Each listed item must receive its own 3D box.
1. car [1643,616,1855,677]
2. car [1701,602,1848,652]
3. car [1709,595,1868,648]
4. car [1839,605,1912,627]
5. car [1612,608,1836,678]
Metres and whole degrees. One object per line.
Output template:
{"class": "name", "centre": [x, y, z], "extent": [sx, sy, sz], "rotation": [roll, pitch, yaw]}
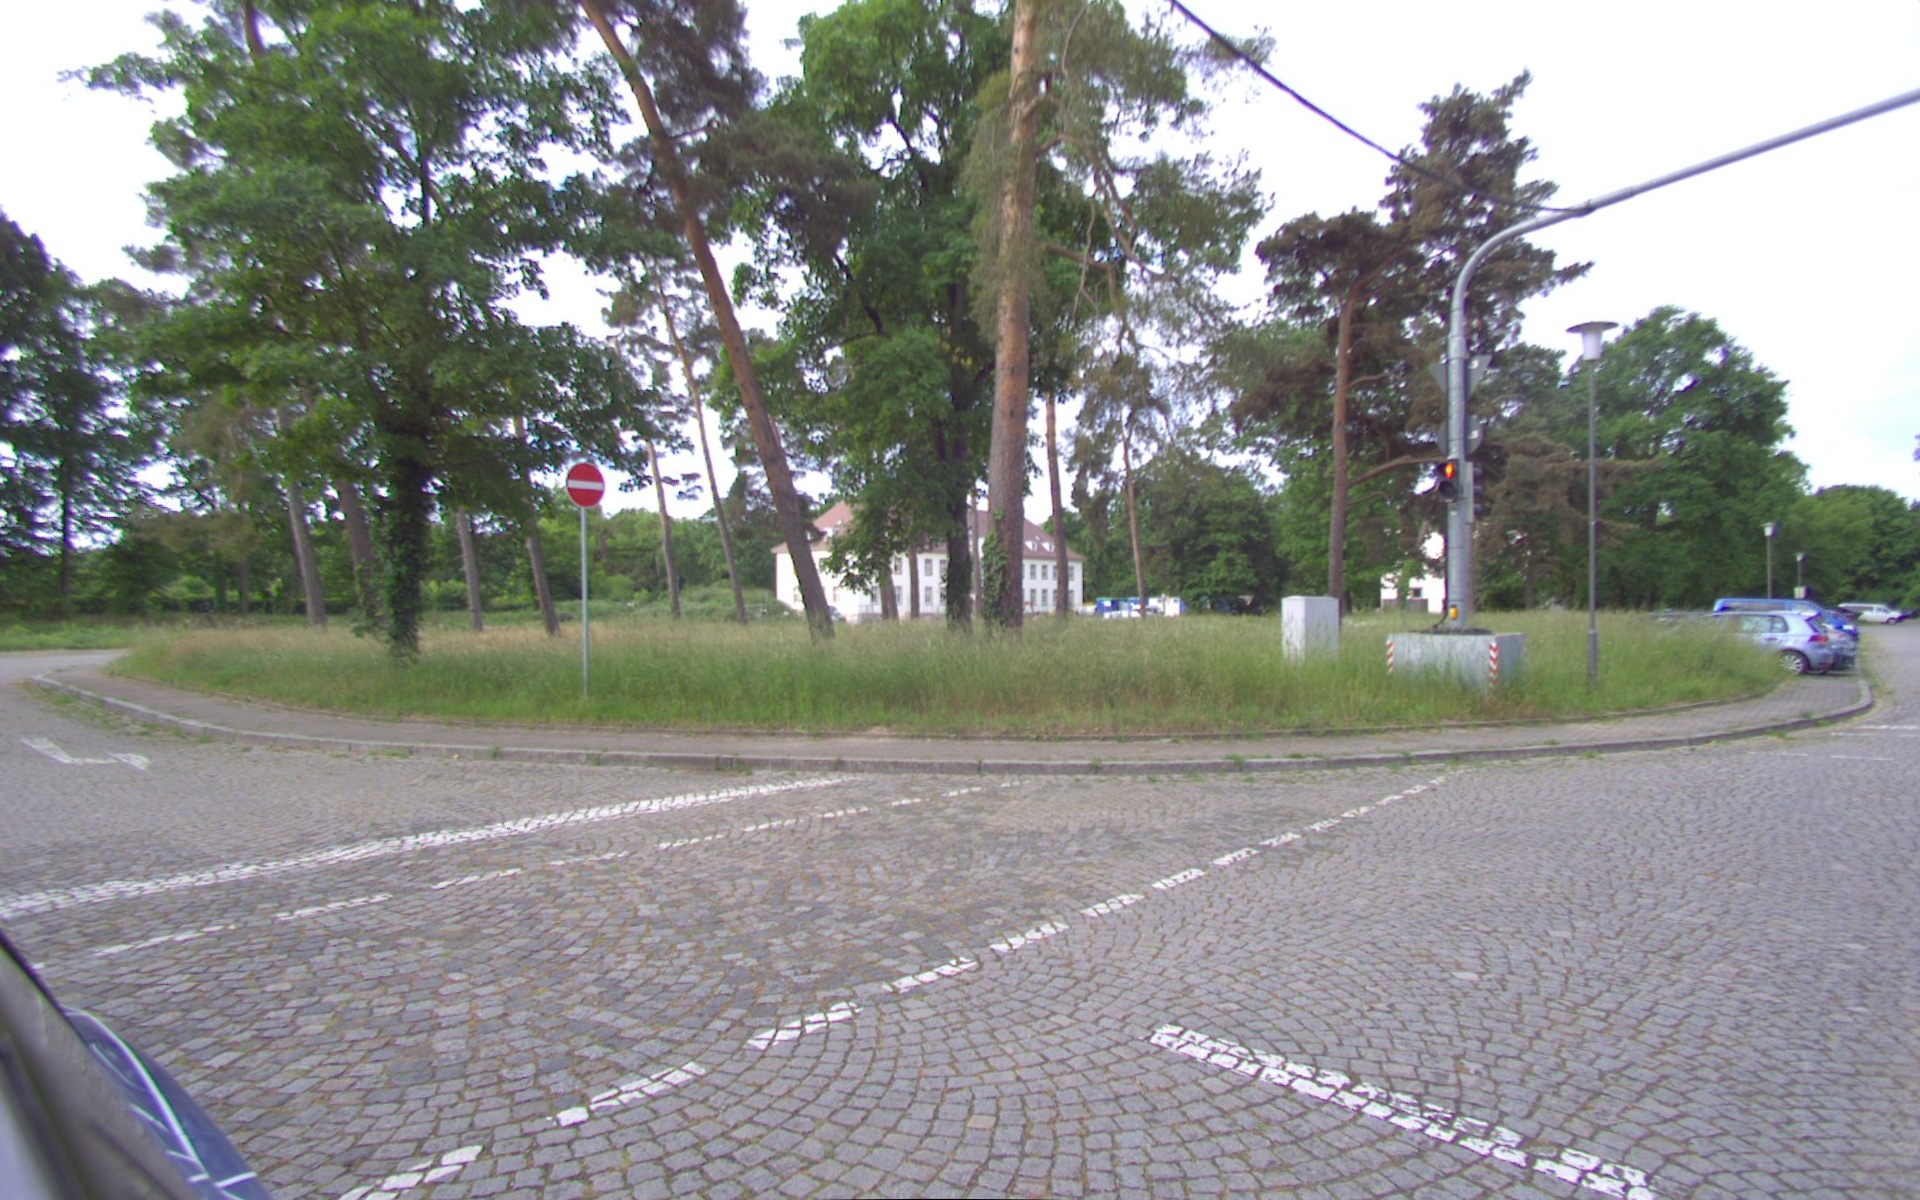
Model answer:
{"class": "car", "centre": [19.350, 1.090, 24.925], "extent": [4.000, 1.364, 1.667], "rotation": [-1, -1, 43]}
{"class": "car", "centre": [29.609, 0.979, 36.860], "extent": [4.001, 1.727, 1.666], "rotation": [-2, -2, 44]}
{"class": "car", "centre": [33.182, 0.881, 40.623], "extent": [4.793, 1.996, 1.970], "rotation": [-2, -2, 42]}
{"class": "car", "centre": [89.082, 1.571, 98.564], "extent": [5.161, 2.029, 1.972], "rotation": [-1, -1, 42]}
{"class": "car", "centre": [17.498, 0.936, 23.299], "extent": [3.998, 1.483, 1.668], "rotation": [-1, -1, 41]}
